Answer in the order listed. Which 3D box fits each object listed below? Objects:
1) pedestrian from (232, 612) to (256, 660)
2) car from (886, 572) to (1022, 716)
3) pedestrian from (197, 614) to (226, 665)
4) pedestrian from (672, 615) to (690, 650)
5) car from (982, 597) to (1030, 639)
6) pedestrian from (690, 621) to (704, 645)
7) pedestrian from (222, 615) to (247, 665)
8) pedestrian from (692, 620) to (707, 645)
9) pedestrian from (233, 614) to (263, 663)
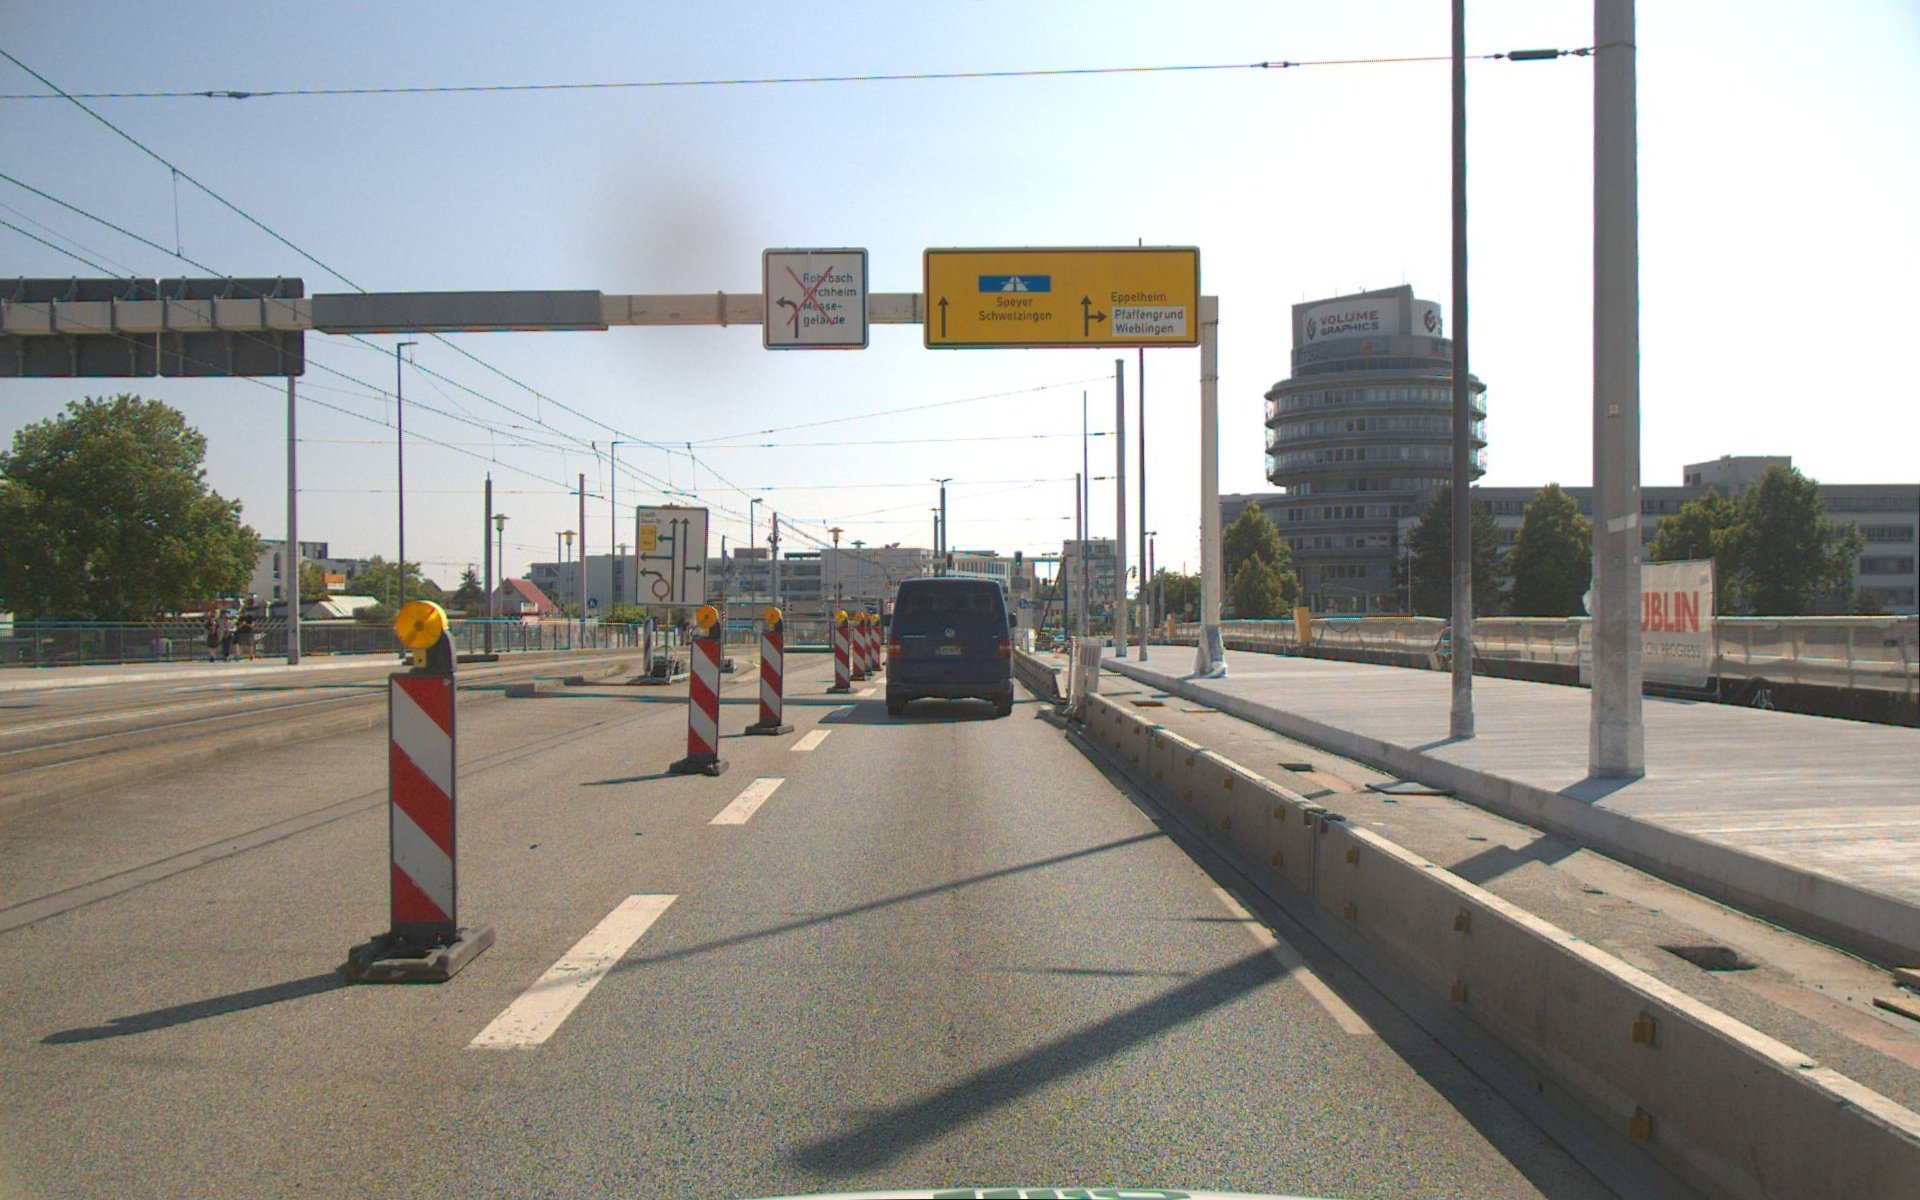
[{"bbox_3d":[-25.927,1.288,59.892,0.493,1.717,0.773,-1,0,2],"label":"pedestrian"},{"bbox_3d":[-0.132,0.622,25.008,1.850,1.968,3.999,1,0,-2],"label":"car"},{"bbox_3d":[-25.743,1.348,56.896,0.585,1.717,0.818,-1,0,2],"label":"pedestrian"},{"bbox_3d":[-13.496,1.578,80.003,0.646,1.683,0.740,-1,-1,13],"label":"pedestrian"},{"bbox_3d":[3.438,1.299,121.151,2.289,2.937,5.975,1,0,14],"label":"car"},{"bbox_3d":[-13.833,1.731,86.981,0.634,1.296,0.453,0,-1,5],"label":"pedestrian"},{"bbox_3d":[-25.118,1.377,57.295,0.476,1.717,0.808,-1,0,2],"label":"pedestrian"},{"bbox_3d":[-13.779,1.735,87.565,0.634,1.296,0.697,0,-1,5],"label":"pedestrian"},{"bbox_3d":[-25.311,1.353,58.808,0.737,1.717,0.732,-1,-1,2],"label":"pedestrian"}]
